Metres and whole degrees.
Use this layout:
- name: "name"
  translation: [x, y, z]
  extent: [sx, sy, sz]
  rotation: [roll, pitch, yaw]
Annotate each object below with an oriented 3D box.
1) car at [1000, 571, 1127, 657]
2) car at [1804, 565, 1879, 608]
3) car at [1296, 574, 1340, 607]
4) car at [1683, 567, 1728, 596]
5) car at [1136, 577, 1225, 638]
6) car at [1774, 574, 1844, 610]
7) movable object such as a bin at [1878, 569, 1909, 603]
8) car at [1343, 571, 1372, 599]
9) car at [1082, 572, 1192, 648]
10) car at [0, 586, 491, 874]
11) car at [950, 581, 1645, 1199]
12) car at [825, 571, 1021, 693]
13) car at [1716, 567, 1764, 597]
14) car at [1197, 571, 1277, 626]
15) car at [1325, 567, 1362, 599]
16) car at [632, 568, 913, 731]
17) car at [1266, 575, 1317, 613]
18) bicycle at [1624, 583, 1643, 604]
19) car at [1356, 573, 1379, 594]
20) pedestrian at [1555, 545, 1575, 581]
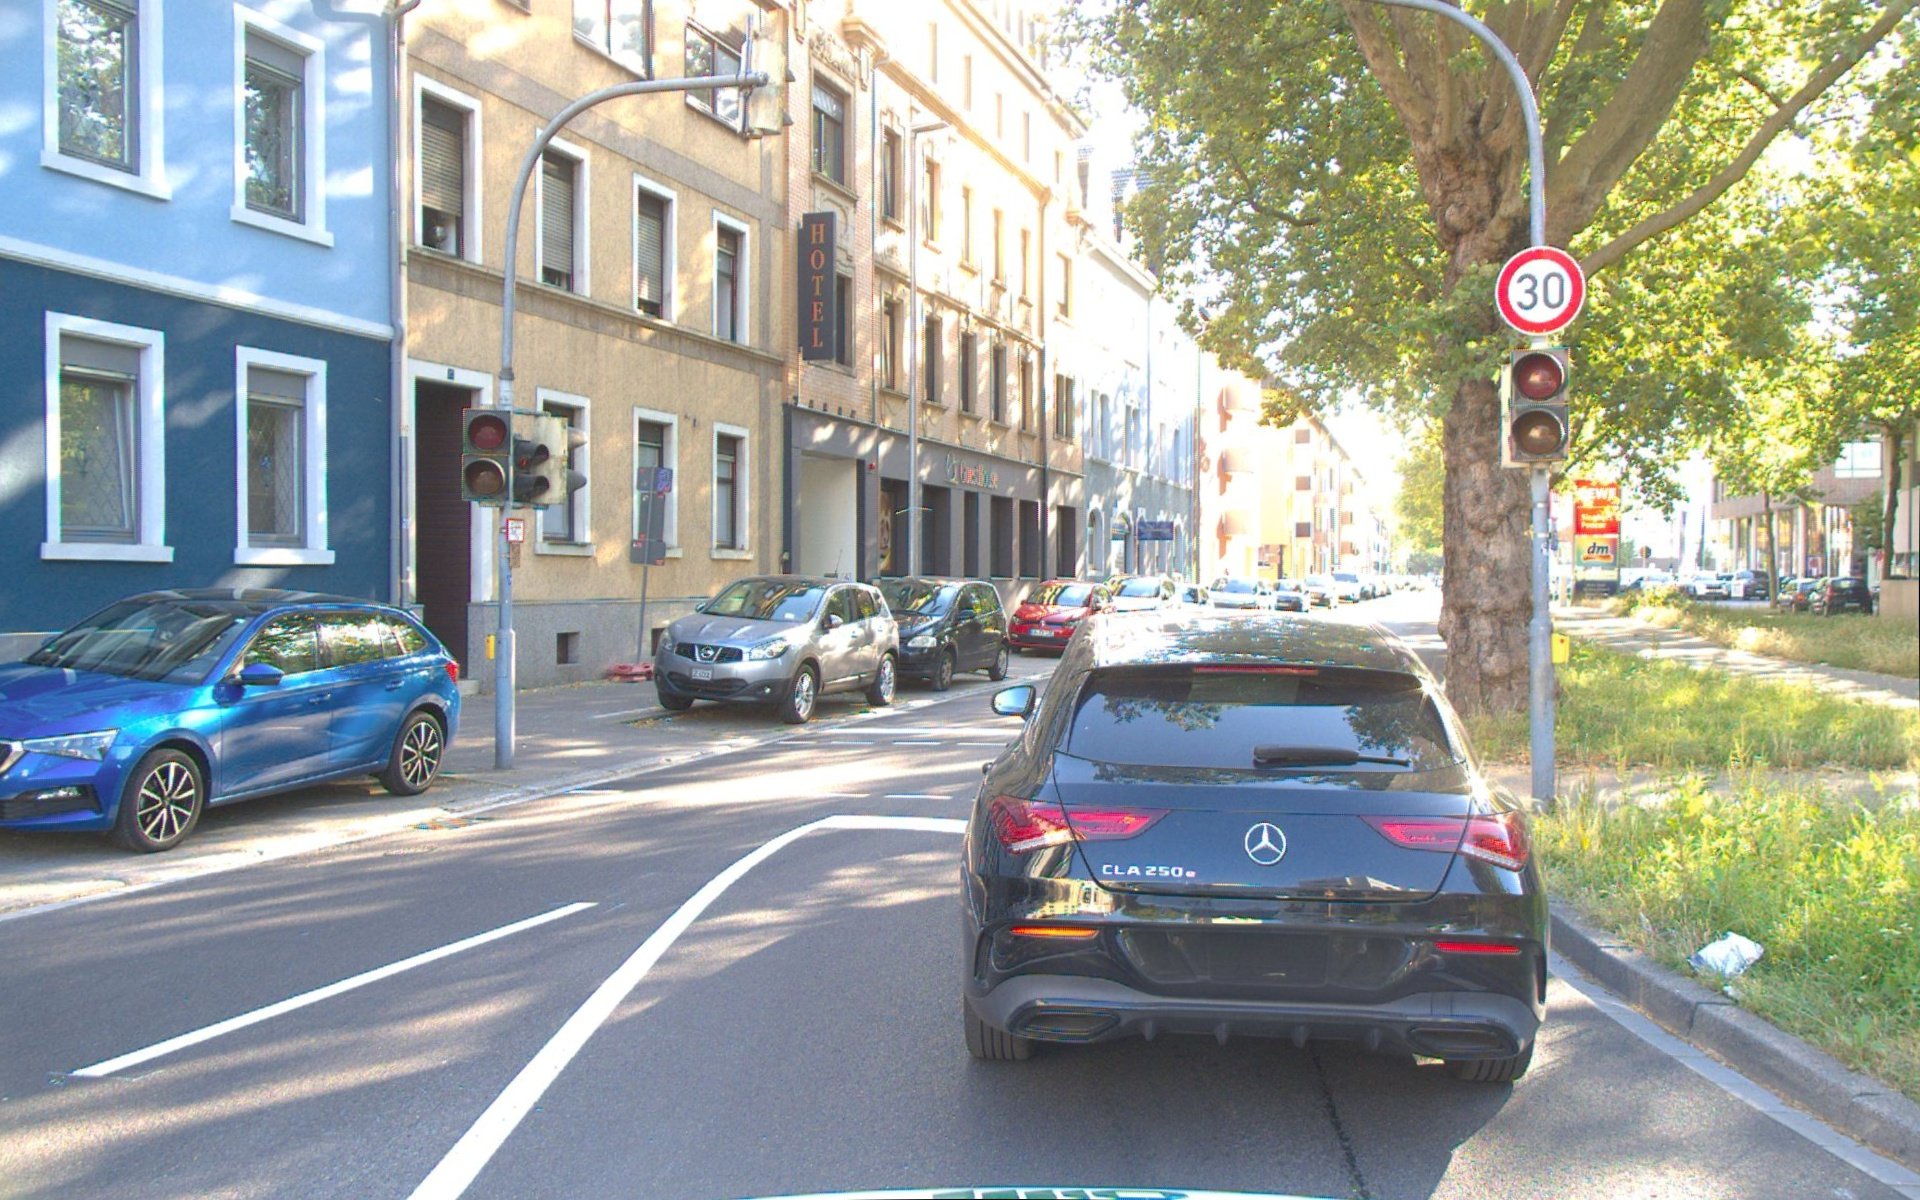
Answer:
- name: "car"
  translation: [2.169, 0.232, 33.826]
  extent: [1.643, 1.620, 3.758]
  rotation: [2, 1, 19]
- name: "car"
  translation: [33.232, -0.521, 62.432]
  extent: [1.820, 1.580, 3.762]
  rotation: [0, 1, 18]
- name: "car"
  translation: [17.816, -0.511, 82.263]
  extent: [1.643, 1.550, 4.023]
  rotation: [2, 1, 19]
- name: "car"
  translation: [45.843, -1.138, 101.747]
  extent: [1.836, 1.764, 4.184]
  rotation: [0, 1, 15]
- name: "car"
  translation: [5.989, 0.166, 44.698]
  extent: [1.643, 1.522, 3.873]
  rotation: [2, 1, 19]
- name: "car"
  translation: [35.528, -0.355, 69.284]
  extent: [1.819, 1.494, 4.127]
  rotation: [0, 1, 16]
- name: "movable object such as a bin"
  translation: [41.210, -0.612, 73.053]
  extent: [1.170, 1.488, 1.405]
  rotation: [0, 1, 29]
- name: "car"
  translation: [27.499, -1.040, 114.288]
  extent: [1.708, 1.818, 4.553]
  rotation: [2, 1, 16]
- name: "car"
  translation: [4.179, 0.178, 38.500]
  extent: [1.643, 1.612, 4.202]
  rotation: [2, 1, 19]
- name: "car"
  translation: [-5.163, 0.705, 11.481]
  extent: [1.615, 1.512, 4.265]
  rotation: [2, 1, 17]
- name: "car"
  translation: [1.077, 0.710, 6.204]
  extent: [1.707, 1.468, 3.972]
  rotation: [2, 1, 7]
- name: "car"
  translation: [-0.475, 0.404, 24.763]
  extent: [1.643, 1.632, 3.706]
  rotation: [2, 1, 21]
- name: "car"
  translation: [47.573, -1.109, 100.950]
  extent: [1.944, 1.764, 4.184]
  rotation: [0, 1, 16]
- name: "car"
  translation: [9.176, -0.083, 54.482]
  extent: [1.868, 1.670, 4.579]
  rotation: [2, 1, 19]
- name: "car"
  translation: [23.609, -1.066, 101.612]
  extent: [1.698, 1.940, 5.211]
  rotation: [1, 1, 19]
- name: "car"
  translation: [-2.114, 0.492, 19.939]
  extent: [1.744, 1.702, 4.158]
  rotation: [2, 1, 19]
- name: "car"
  translation: [13.987, -0.260, 69.715]
  extent: [1.643, 1.512, 3.603]
  rotation: [2, 1, 19]
- name: "bicycle"
  translation: [32.720, -0.322, 80.360]
  extent: [0.375, 1.021, 1.487]
  rotation: [0, 1, 1]
- name: "car"
  translation: [31.510, -1.274, 127.831]
  extent: [1.515, 1.550, 4.008]
  rotation: [2, 1, 16]
- name: "pedestrian"
  translation: [30.570, -1.847, 83.547]
  extent: [0.751, 1.792, 0.664]
  rotation: [-2, 0, 8]
